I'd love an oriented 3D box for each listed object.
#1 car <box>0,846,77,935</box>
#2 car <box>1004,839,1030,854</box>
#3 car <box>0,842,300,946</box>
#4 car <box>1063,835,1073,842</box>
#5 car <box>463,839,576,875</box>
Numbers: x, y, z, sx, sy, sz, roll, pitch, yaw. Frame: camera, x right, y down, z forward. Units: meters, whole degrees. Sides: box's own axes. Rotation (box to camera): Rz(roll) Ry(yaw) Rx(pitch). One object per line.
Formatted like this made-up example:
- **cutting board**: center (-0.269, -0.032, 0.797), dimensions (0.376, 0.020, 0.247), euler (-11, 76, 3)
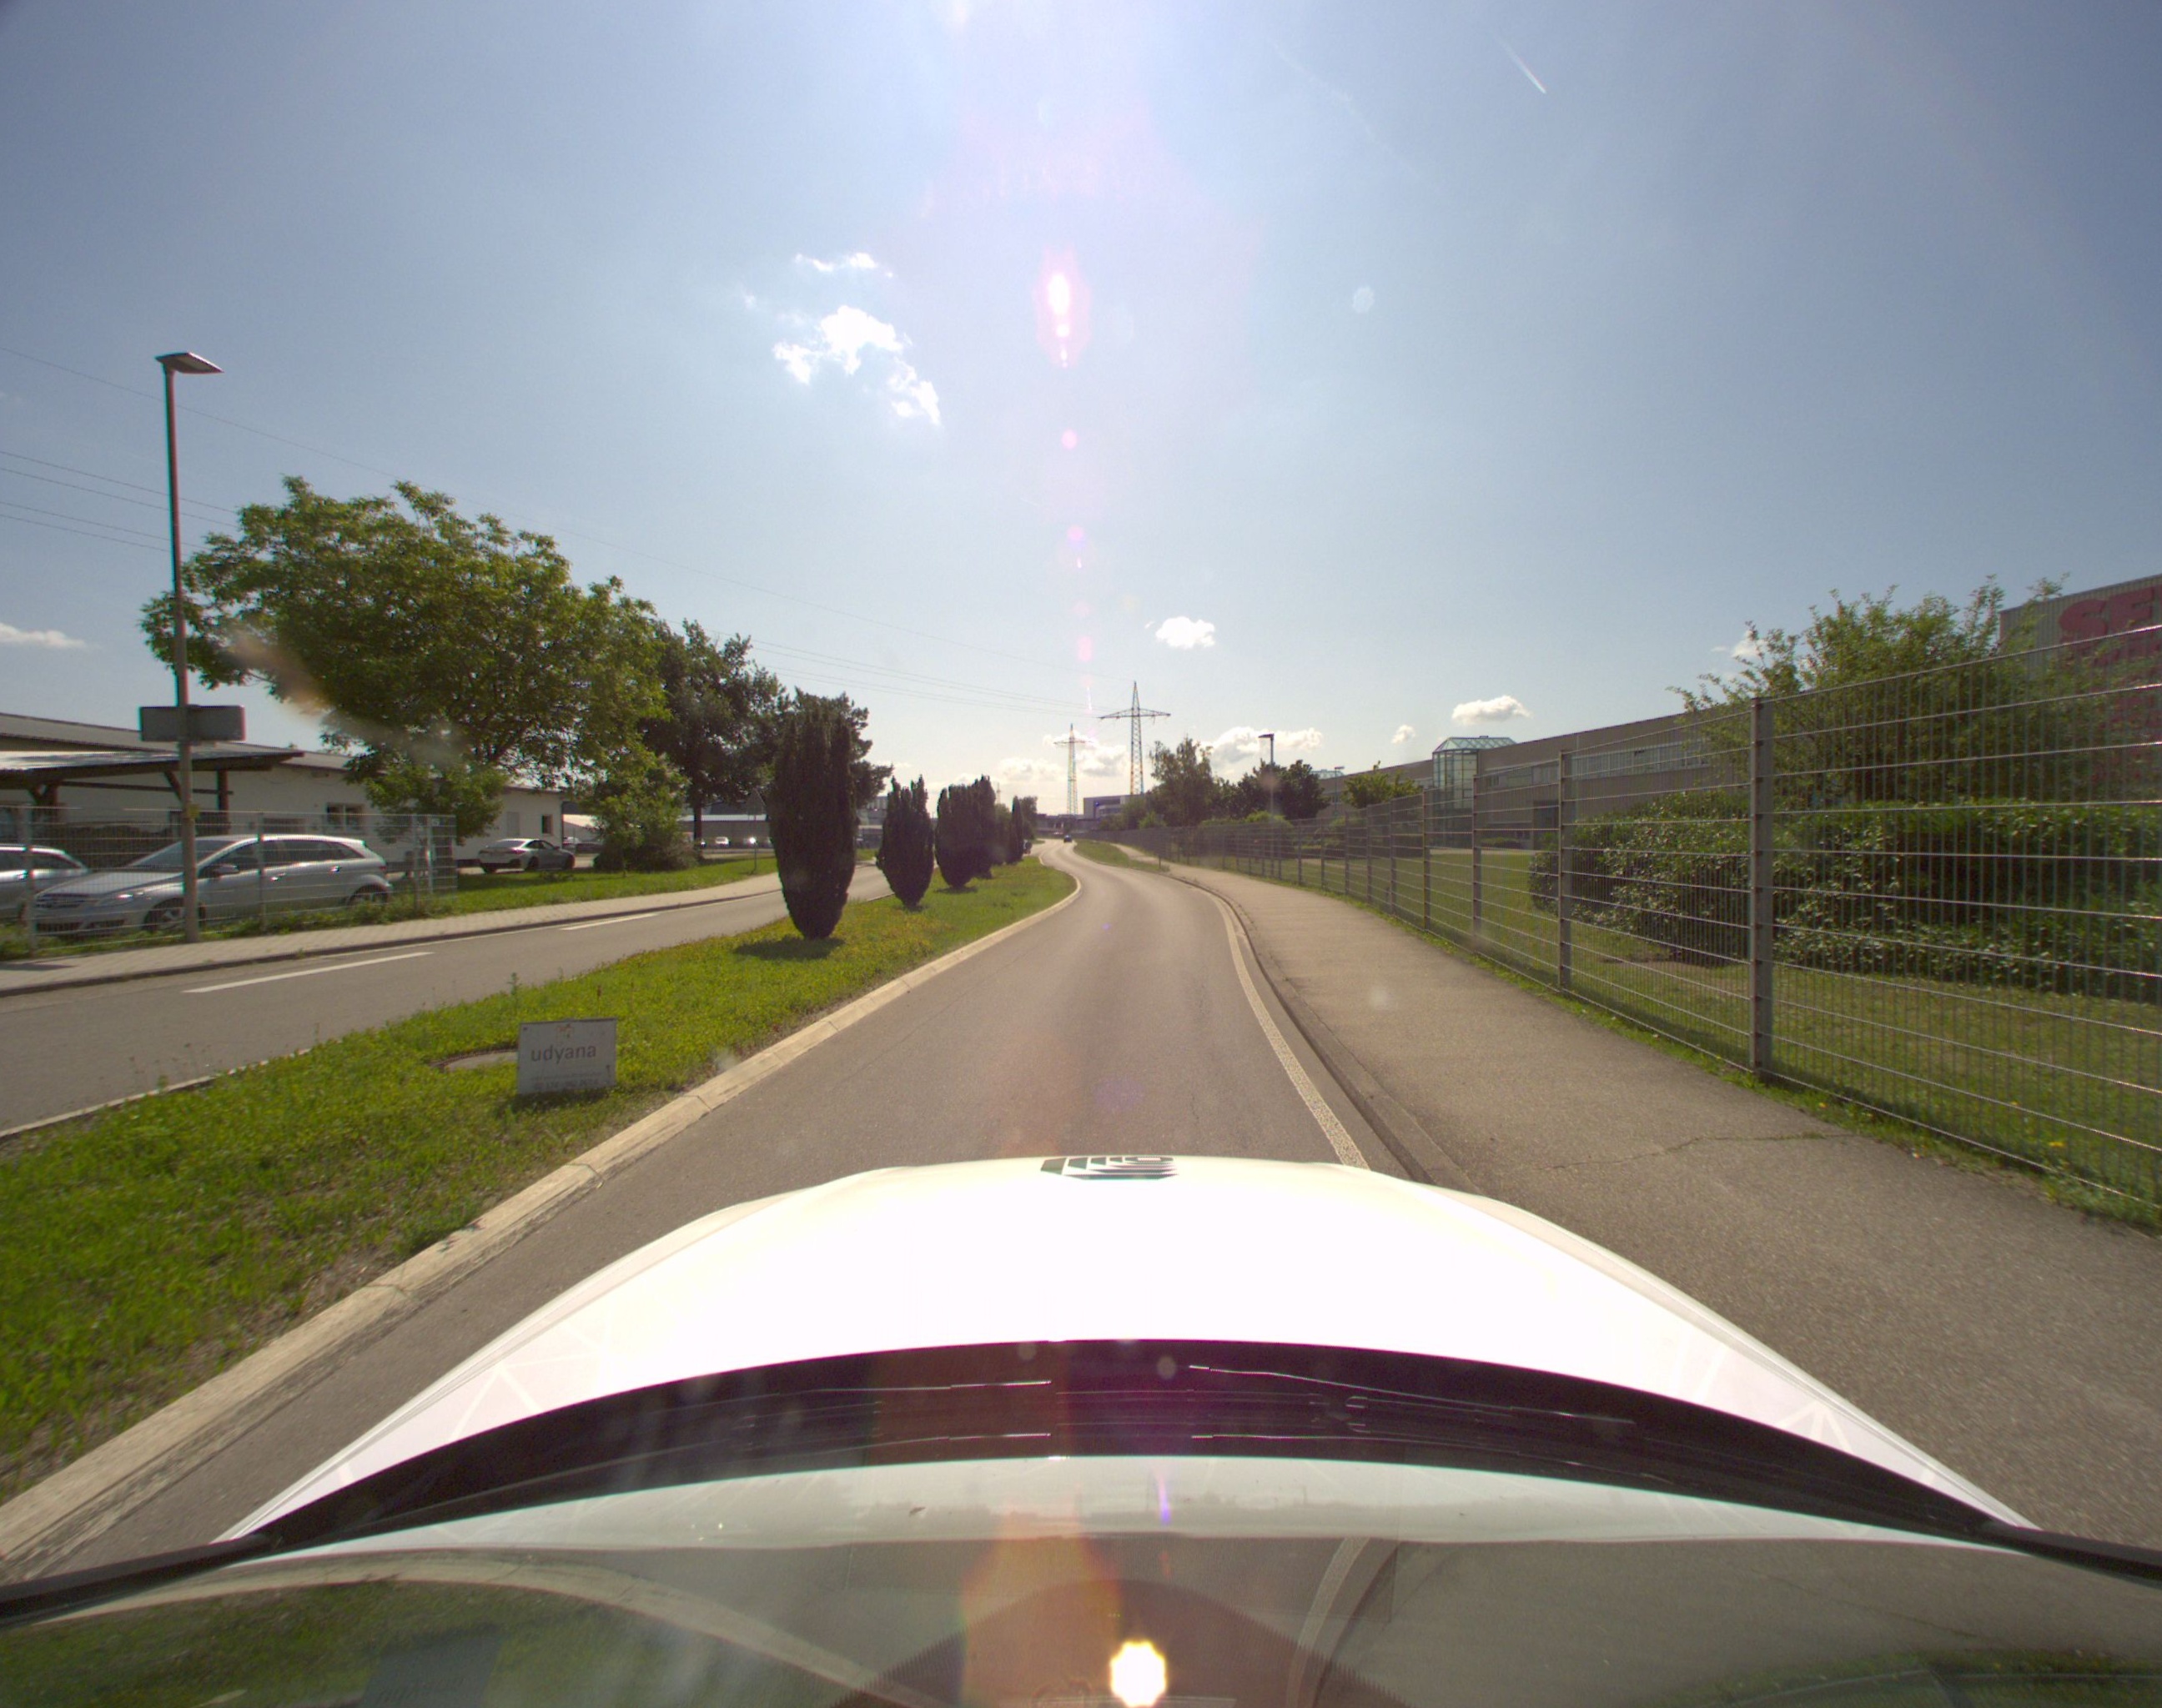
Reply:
- **car**: center (-18.547, 0.615, 12.267), dimensions (1.990, 1.442, 3.994), euler (-1, 1, -4)
- **car**: center (-6.308, -0.737, 81.167), dimensions (1.891, 1.393, 4.870), euler (-1, 1, 3)
- **car**: center (-15.670, 0.551, 13.338), dimensions (1.989, 1.442, 3.995), euler (-1, 0, -4)
- **car**: center (-2.779, -3.246, 174.209), dimensions (2.007, 1.508, 3.996), euler (-1, 1, -3)
- **car**: center (-23.812, 0.082, 34.788), dimensions (1.991, 1.408, 4.507), euler (-1, 0, -6)
